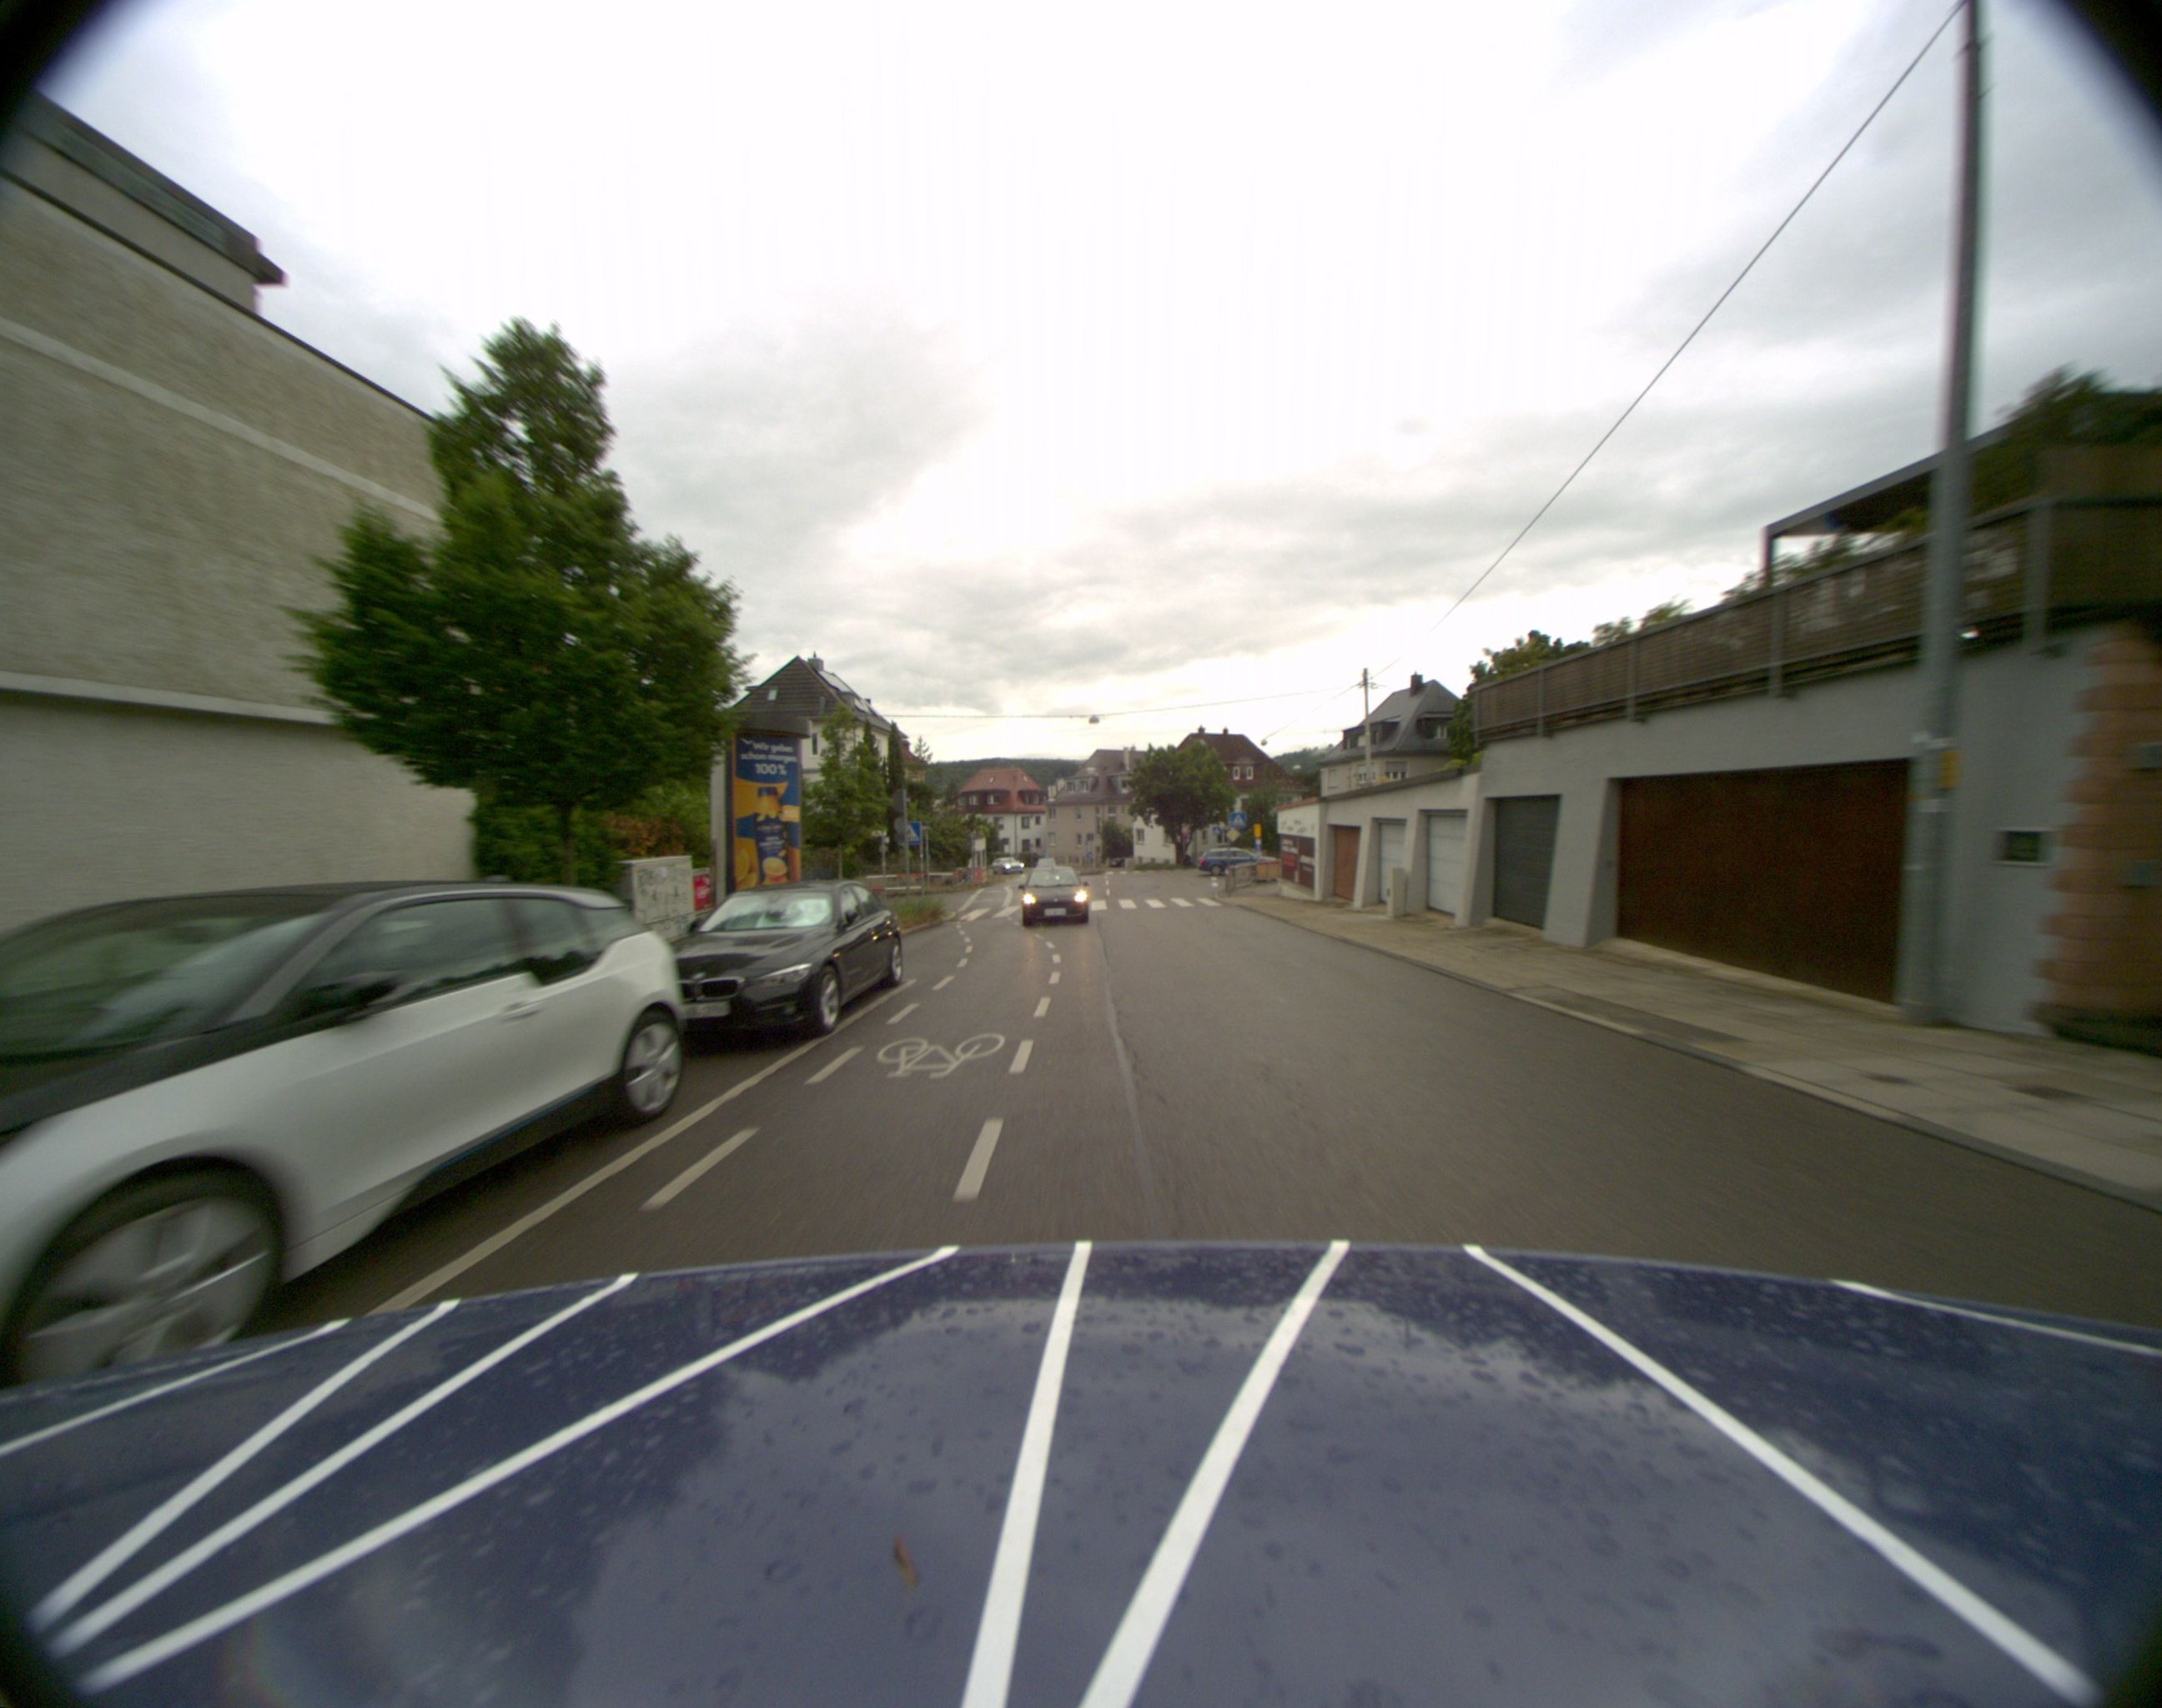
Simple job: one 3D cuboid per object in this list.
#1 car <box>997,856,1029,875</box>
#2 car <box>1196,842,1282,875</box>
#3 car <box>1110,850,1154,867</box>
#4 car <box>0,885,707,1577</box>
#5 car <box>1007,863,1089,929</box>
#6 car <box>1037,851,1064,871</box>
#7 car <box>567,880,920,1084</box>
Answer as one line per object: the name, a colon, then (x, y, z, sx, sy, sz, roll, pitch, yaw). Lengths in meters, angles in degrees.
car: (-6.904, 1.162, 76.457, 2.019, 1.892, 4.087, -2, 0, -23)
car: (8.836, 0.239, 42.730, 4.482, 1.479, 1.999, -2, 4, 6)
car: (5.424, 0.446, 80.864, 4.226, 1.663, 1.875, -2, 0, -20)
car: (-3.590, 1.057, 3.348, 1.733, 1.598, 4.119, -3, 0, 1)
car: (-0.775, 1.053, 20.484, 1.892, 1.521, 4.057, -2, 0, 1)
car: (-2.466, 0.582, 62.405, 1.857, 1.575, 4.001, -2, 0, 1)
car: (-3.212, 1.101, 8.514, 1.783, 1.430, 4.881, -2, 0, -1)
